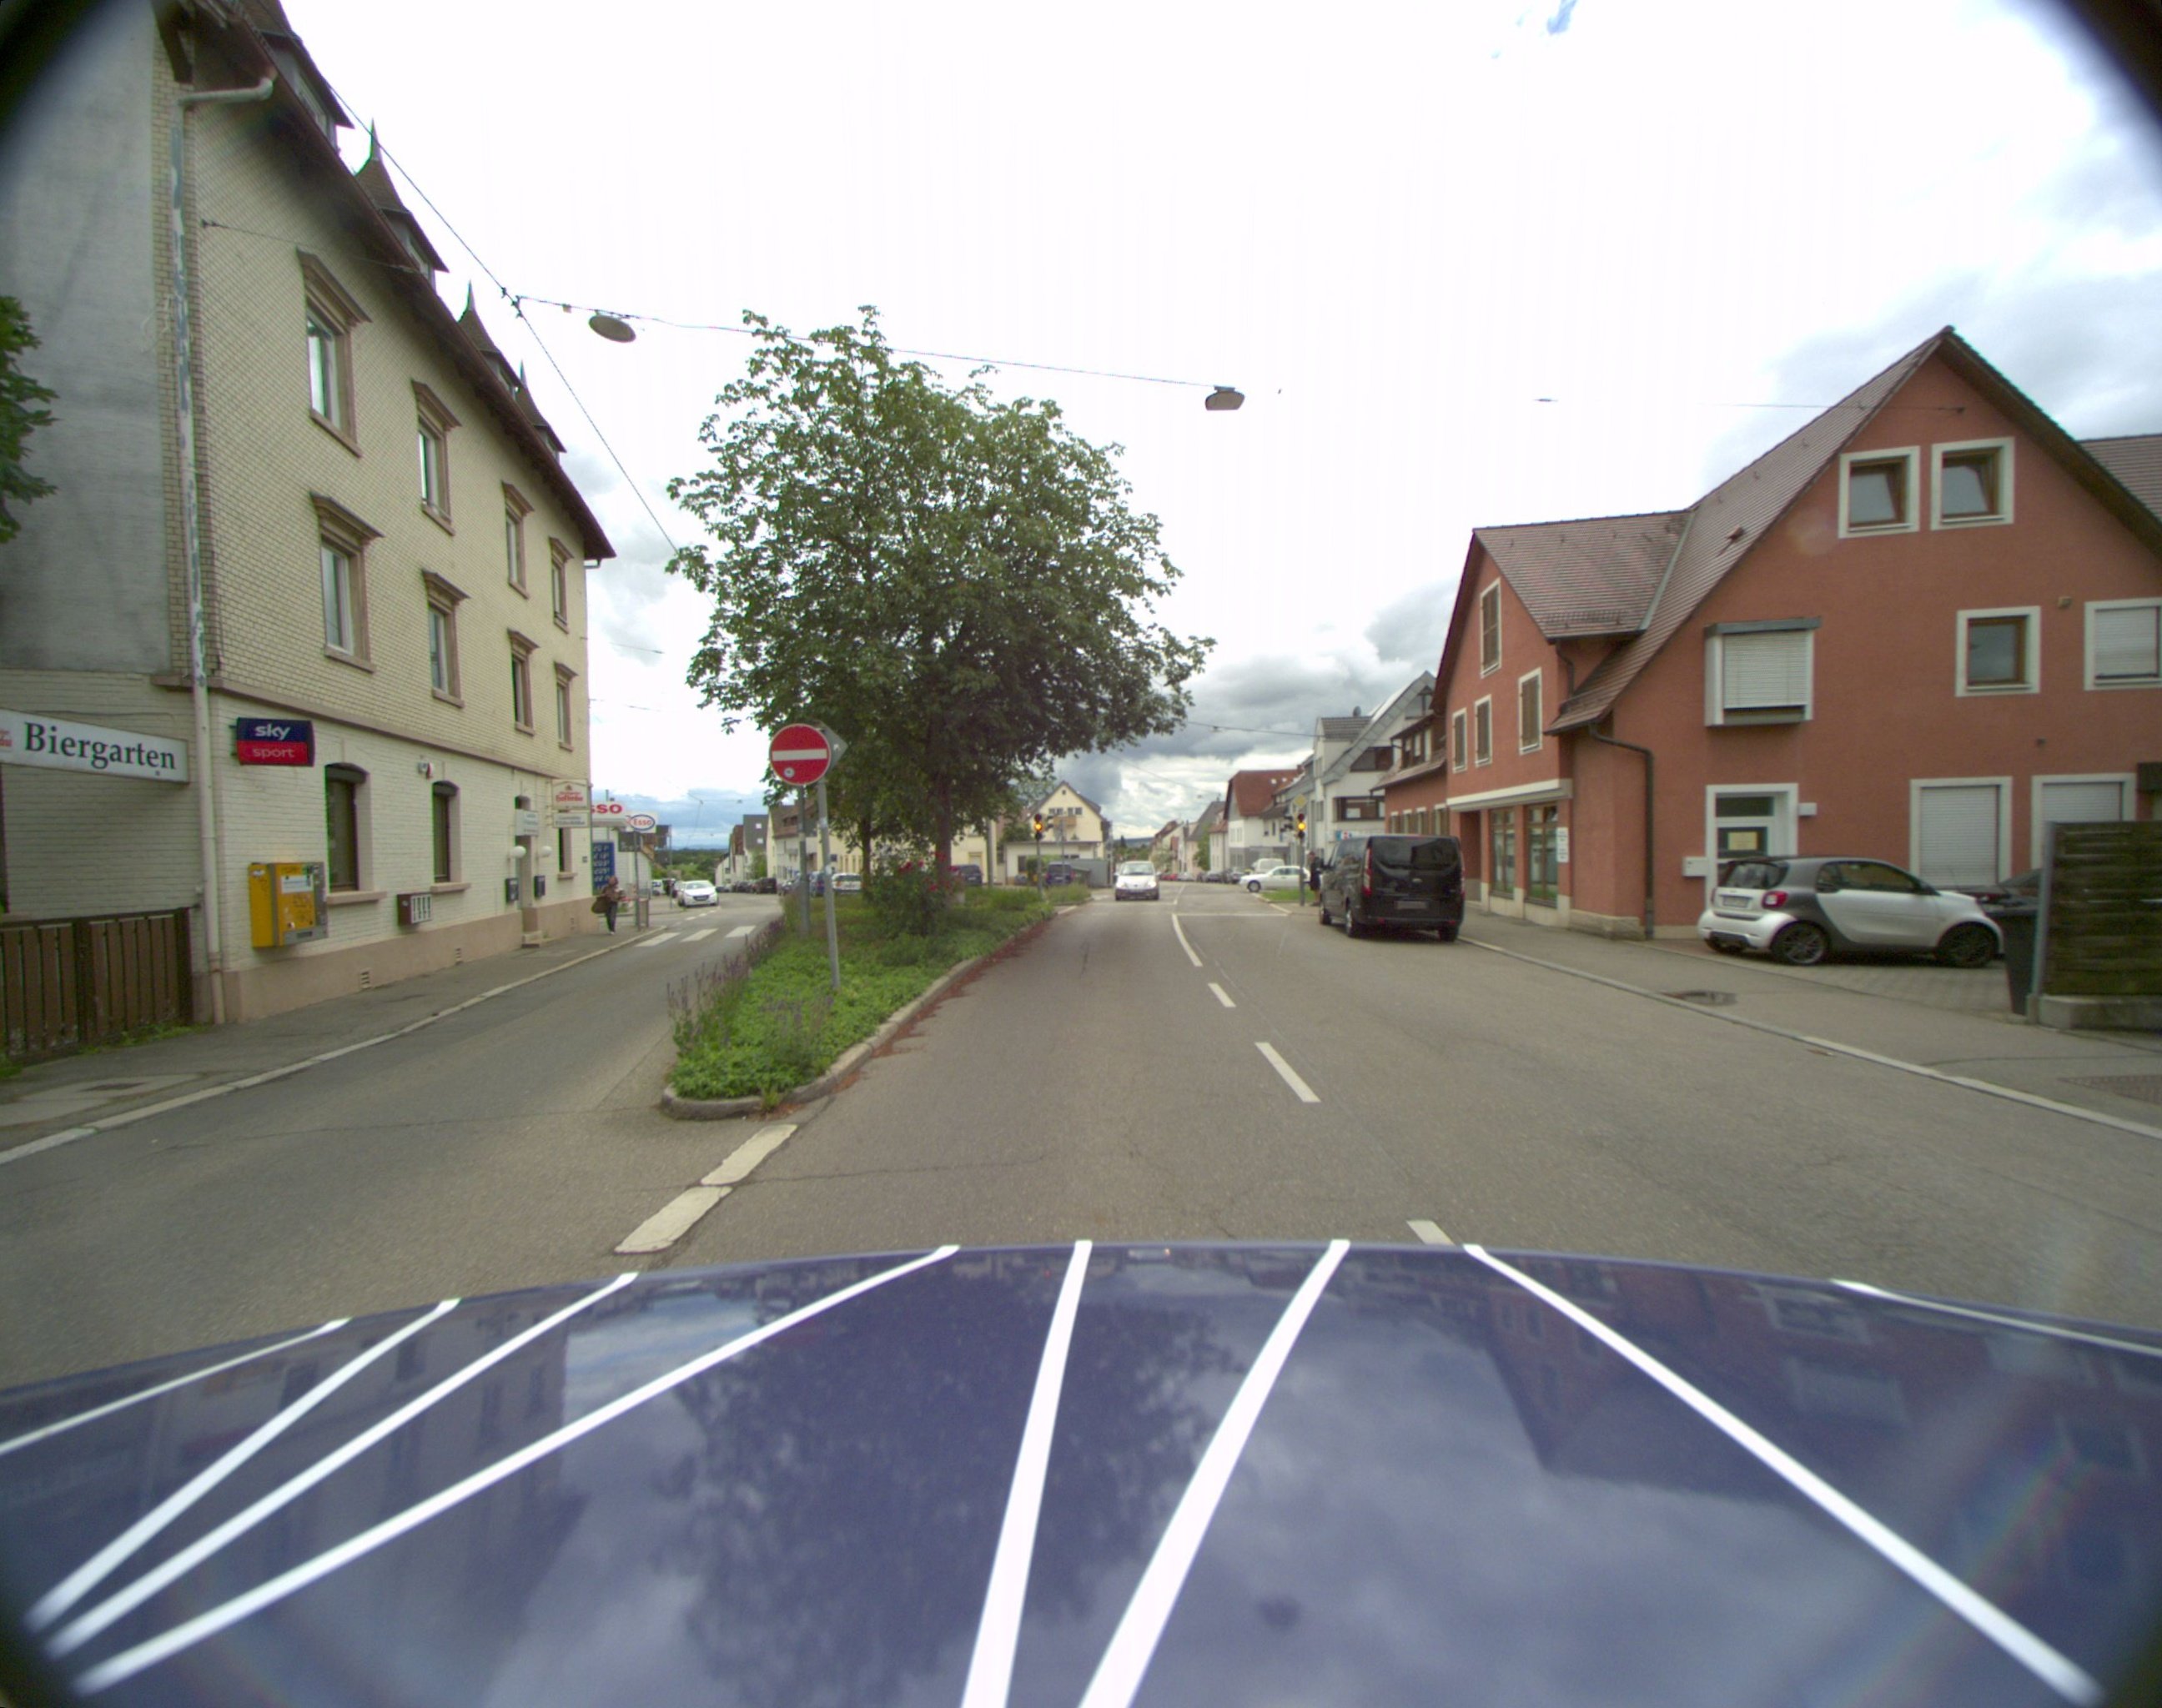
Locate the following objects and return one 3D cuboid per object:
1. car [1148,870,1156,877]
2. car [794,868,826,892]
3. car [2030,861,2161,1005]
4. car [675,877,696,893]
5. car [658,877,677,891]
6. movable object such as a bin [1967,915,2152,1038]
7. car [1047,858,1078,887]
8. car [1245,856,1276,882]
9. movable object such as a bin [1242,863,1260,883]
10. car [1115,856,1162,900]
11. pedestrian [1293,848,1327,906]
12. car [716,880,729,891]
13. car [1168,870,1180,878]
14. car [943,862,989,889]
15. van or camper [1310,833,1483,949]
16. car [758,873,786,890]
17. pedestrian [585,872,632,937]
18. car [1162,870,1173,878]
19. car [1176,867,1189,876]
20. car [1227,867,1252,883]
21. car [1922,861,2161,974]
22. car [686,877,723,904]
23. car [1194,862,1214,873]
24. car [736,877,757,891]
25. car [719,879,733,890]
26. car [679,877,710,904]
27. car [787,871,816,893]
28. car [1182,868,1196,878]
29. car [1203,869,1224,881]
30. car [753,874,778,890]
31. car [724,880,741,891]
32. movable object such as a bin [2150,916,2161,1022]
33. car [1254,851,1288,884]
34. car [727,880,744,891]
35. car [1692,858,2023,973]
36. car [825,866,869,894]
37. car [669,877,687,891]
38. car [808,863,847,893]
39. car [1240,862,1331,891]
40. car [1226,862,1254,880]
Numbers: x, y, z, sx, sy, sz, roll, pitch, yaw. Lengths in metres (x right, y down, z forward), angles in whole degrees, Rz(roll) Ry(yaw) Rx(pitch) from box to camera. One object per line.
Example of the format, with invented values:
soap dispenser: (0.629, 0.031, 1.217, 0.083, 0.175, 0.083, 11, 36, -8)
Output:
car: (17.291, 4.690, 184.870, 1.706, 1.523, 3.736, 2, -1, 1)
car: (-21.135, 2.068, 59.135, 1.725, 1.720, 3.992, -3, -1, -28)
car: (13.388, 0.808, 8.070, 3.993, 1.466, 1.744, -1, 0, 9)
car: (-42.270, 3.360, 81.273, 1.879, 1.586, 3.893, -3, -1, -28)
car: (-49.819, 3.652, 91.521, 1.879, 1.586, 3.893, -3, -1, -28)
movable object such as a bin: (8.957, 1.096, 6.994, 0.667, 1.012, 0.796, -1, -1, 4)
car: (-1.130, 1.196, 48.568, 1.750, 1.729, 4.573, 1, -1, 1)
car: (13.067, 1.085, 55.428, 1.736, 1.821, 4.301, 1, -1, 7)
movable object such as a bin: (13.753, 1.552, 61.446, 1.143, 1.623, 1.563, 0, -1, 1)
car: (2.427, 0.962, 31.421, 1.720, 1.586, 4.003, -3, -1, 6)
pedestrian: (7.252, 0.719, 24.080, 0.891, 1.774, 0.803, -2, -1, 9)
car: (-70.537, 6.139, 149.605, 2.003, 2.001, 3.992, -3, -1, -29)
car: (16.589, 3.540, 136.106, 1.706, 1.401, 3.736, 2, -1, 1)
car: (-8.113, 1.555, 53.317, 1.872, 1.717, 3.992, -3, -1, -28)
van or camper: (6.237, 0.634, 15.701, 2.077, 1.994, 4.860, 1, 0, 7)
car: (-33.363, 2.970, 81.971, 2.285, 1.720, 3.992, -3, -1, -28)
pedestrian: (-13.199, 1.382, 21.251, 0.861, 1.722, 1.020, -3, -1, -20)
car: (16.724, 3.802, 147.552, 1.706, 1.523, 3.736, 2, -1, 1)
car: (16.088, 2.751, 120.595, 1.653, 1.438, 3.776, 0, -1, 3)
car: (16.389, 2.140, 78.690, 1.842, 1.623, 4.410, 0, -1, 2)
car: (14.368, 0.815, 10.388, 3.598, 1.340, 1.709, -2, 0, 7)
car: (-21.630, 2.079, 43.574, 1.778, 1.470, 3.823, 1, -3, -28)
car: (15.846, 1.745, 98.037, 1.842, 1.436, 4.000, 1, -1, -1)
car: (-45.608, 4.121, 103.629, 2.285, 1.720, 3.992, -3, -1, -28)
car: (-65.301, 5.634, 139.768, 2.003, 2.001, 3.992, -3, -1, -30)
car: (-24.265, 2.245, 47.732, 1.629, 1.466, 3.760, -1, 0, -27)
car: (-23.530, 2.364, 63.892, 1.725, 1.720, 3.992, -3, -1, -28)
car: (16.345, 2.847, 115.301, 1.653, 1.438, 3.812, 0, -1, 1)
car: (15.993, 2.555, 92.018, 1.842, 1.436, 4.469, 1, -1, 1)
car: (-36.217, 3.242, 87.175, 2.285, 1.720, 3.992, -3, -1, -28)
car: (-59.665, 5.478, 130.081, 2.285, 1.720, 3.992, -3, -1, -28)
movable object such as a bin: (10.616, 1.092, 6.904, 0.667, 1.012, 0.796, -1, -1, 4)
car: (12.349, 0.896, 49.695, 1.815, 1.993, 4.768, 1, -1, 10)
car: (-56.972, 5.224, 125.311, 2.285, 1.720, 3.992, -3, -1, -28)
car: (10.903, 0.827, 10.900, 2.834, 1.466, 1.744, -1, 0, 11)
car: (-14.499, 1.636, 46.972, 1.777, 1.608, 3.992, -3, -1, -29)
car: (-51.147, 3.833, 96.451, 1.879, 1.586, 3.893, -3, -1, -28)
car: (-17.615, 1.702, 52.655, 1.778, 1.931, 4.315, 1, -3, -29)
car: (10.845, 1.194, 40.544, 4.560, 1.436, 2.002, 0, -1, 13)
car: (15.155, 1.647, 72.550, 1.842, 1.623, 4.410, 0, -1, 2)
